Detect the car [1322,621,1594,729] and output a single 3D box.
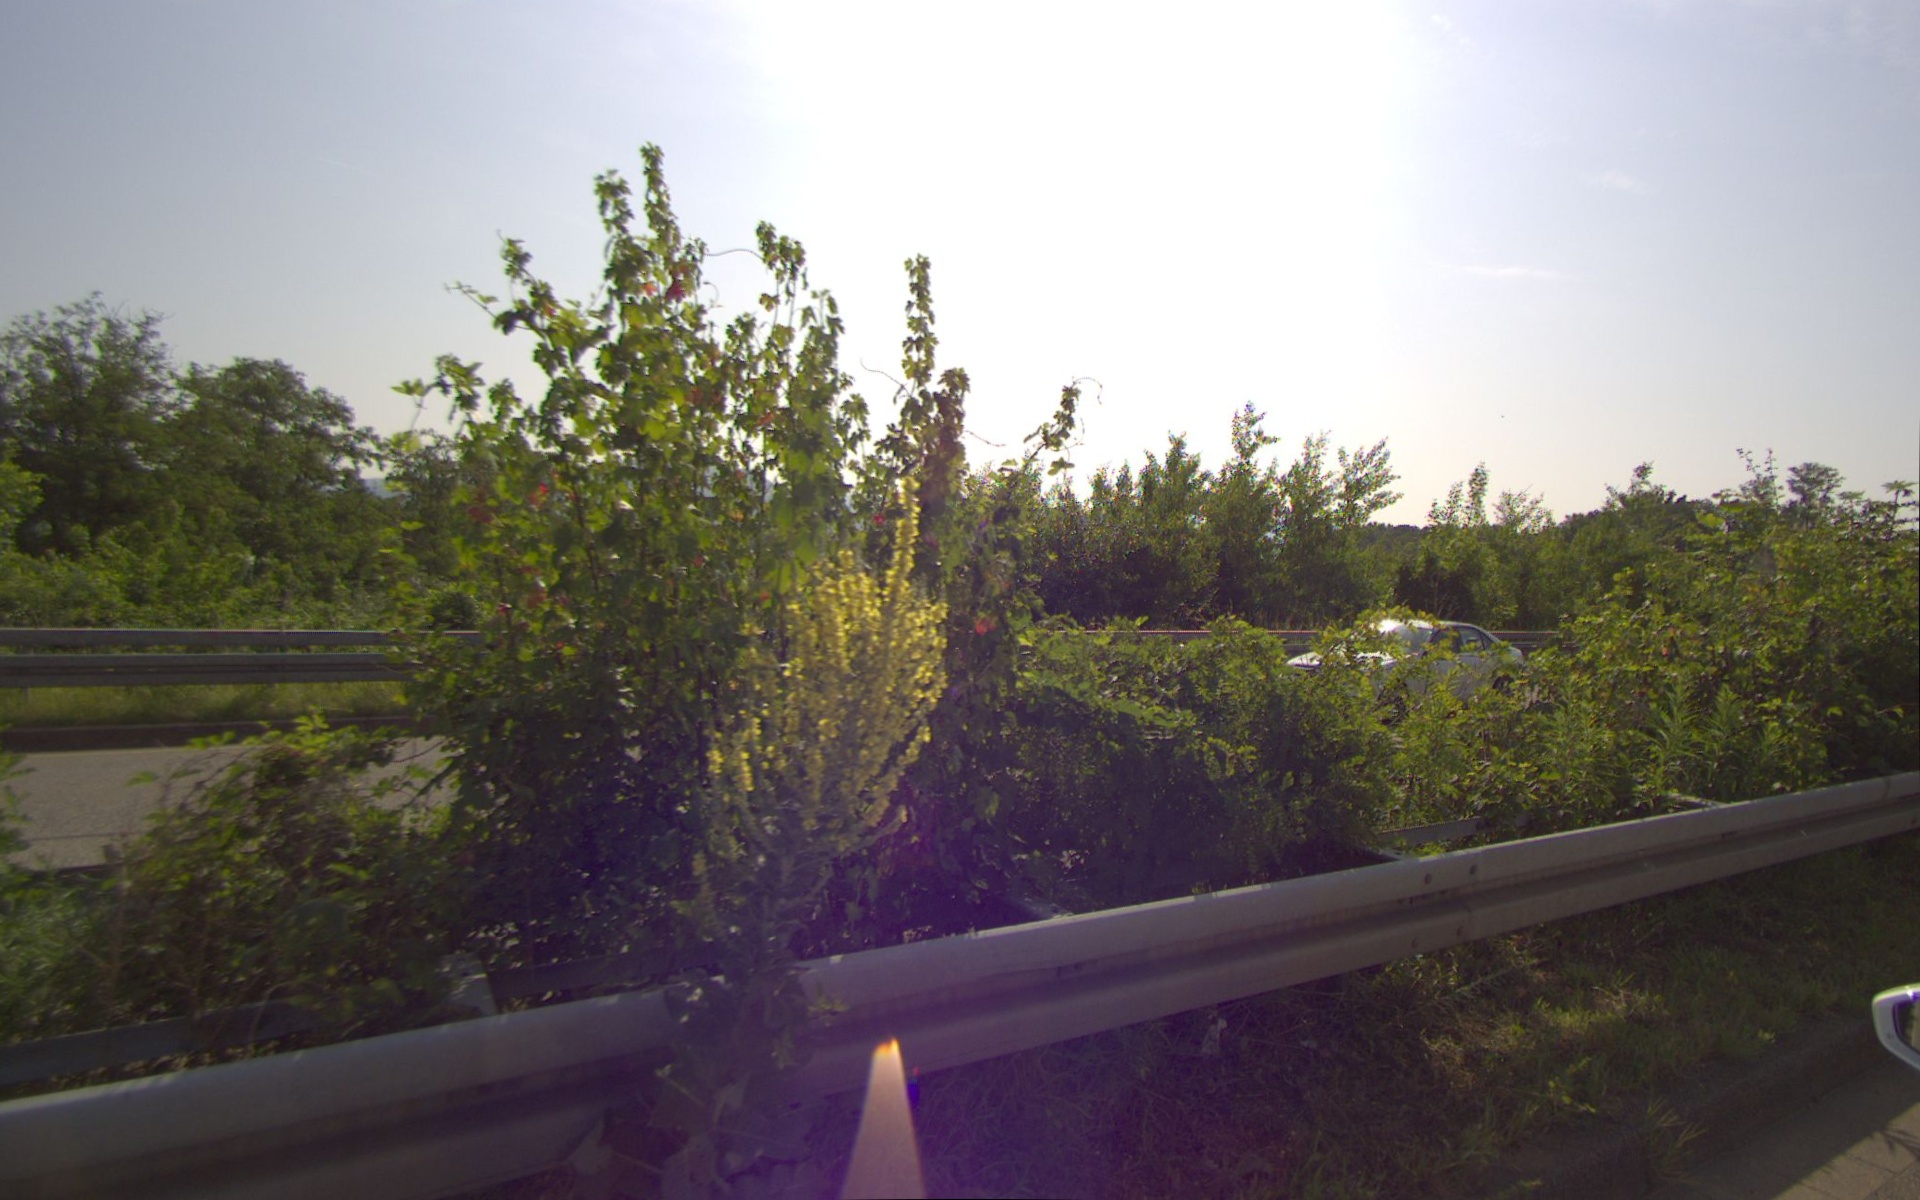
[{"bbox_3d":[8.233,1.180,16.543,4.283,1.508,1.984,2,0,-30],"label":"car"}]
